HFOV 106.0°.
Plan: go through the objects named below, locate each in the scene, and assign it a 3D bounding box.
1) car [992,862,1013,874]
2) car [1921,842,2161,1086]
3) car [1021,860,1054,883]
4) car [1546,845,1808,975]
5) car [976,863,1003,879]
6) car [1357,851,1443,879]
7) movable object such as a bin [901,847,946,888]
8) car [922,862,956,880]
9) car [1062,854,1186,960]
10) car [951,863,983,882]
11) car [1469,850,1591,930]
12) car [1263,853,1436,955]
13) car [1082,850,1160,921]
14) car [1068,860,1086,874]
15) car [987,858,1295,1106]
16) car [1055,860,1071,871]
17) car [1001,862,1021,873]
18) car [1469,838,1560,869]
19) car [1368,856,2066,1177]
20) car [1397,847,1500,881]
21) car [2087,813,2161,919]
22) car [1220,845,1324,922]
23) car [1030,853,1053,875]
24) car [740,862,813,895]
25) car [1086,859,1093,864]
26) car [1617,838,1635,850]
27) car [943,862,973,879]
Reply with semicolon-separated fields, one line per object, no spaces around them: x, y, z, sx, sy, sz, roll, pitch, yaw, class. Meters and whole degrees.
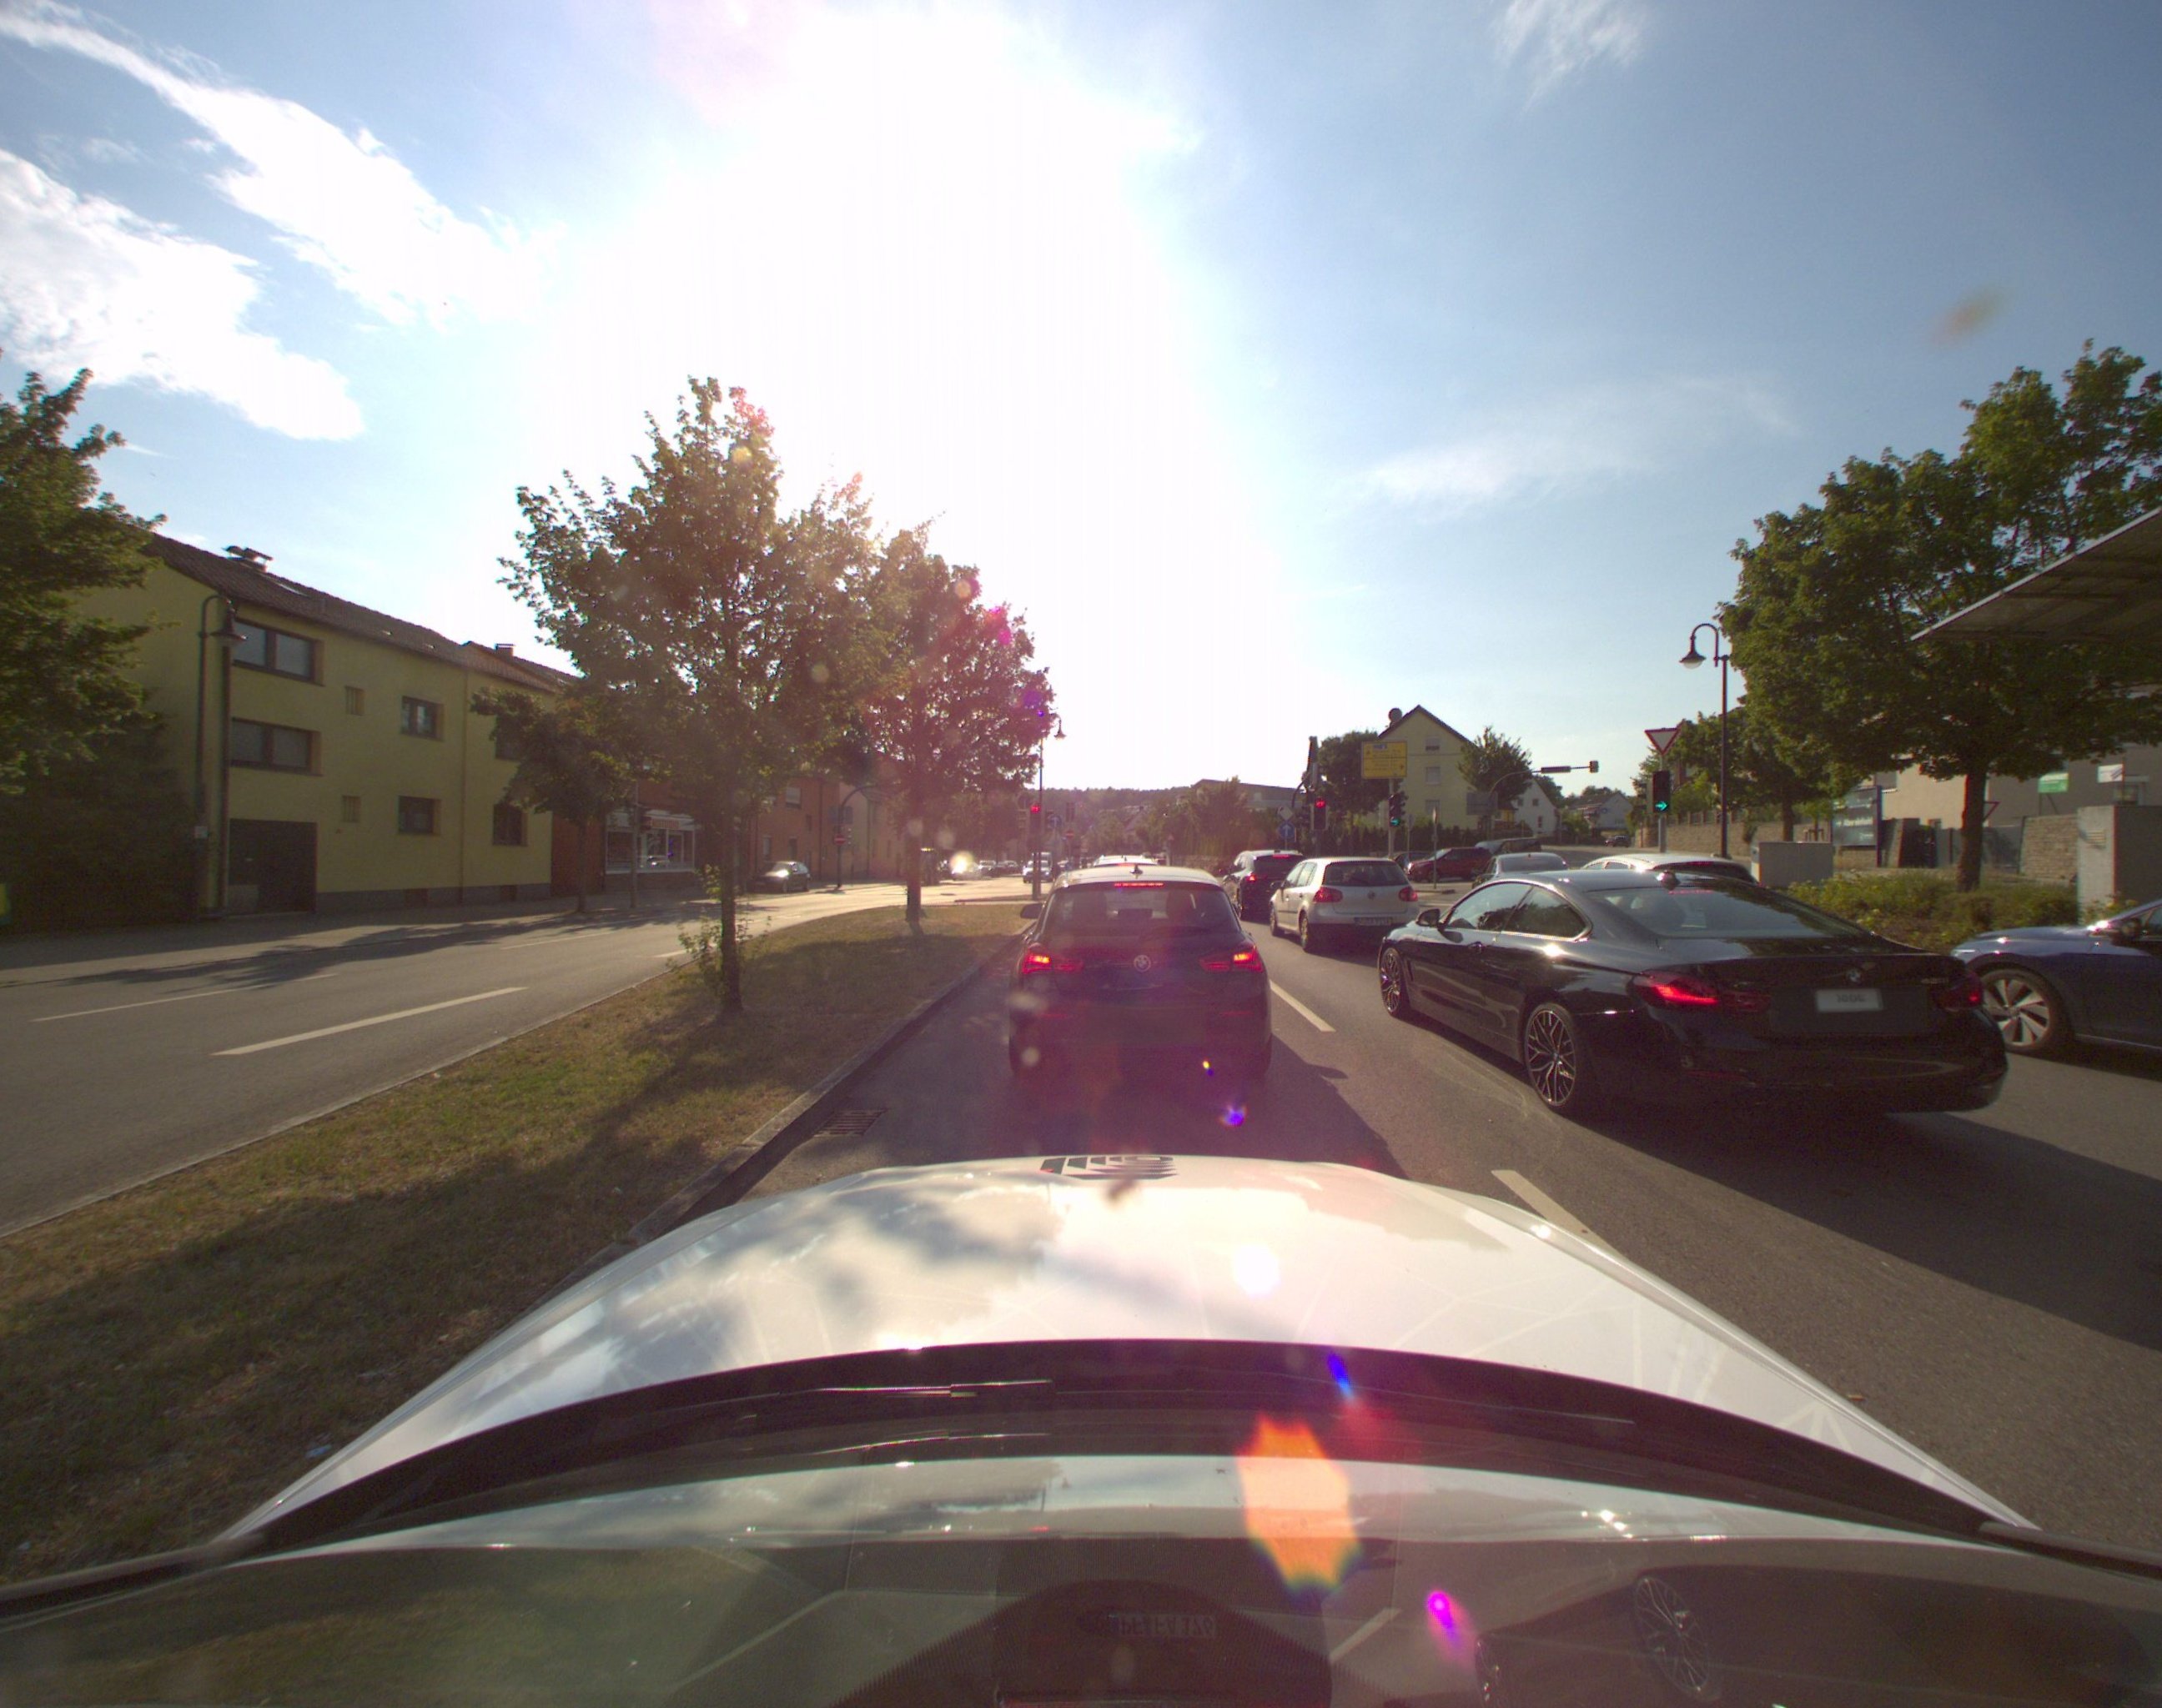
-9.348;1.649;97.575;1.729;1.301;3.804;4;0;5;car
7.402;0.659;4.237;1.754;1.453;4.323;-2;0;4;car
-2.950;1.156;55.744;1.832;1.482;4.002;-1;0;2;car
8.116;0.679;11.472;1.608;1.542;3.326;-2;0;9;car
-8.600;1.558;76.755;1.729;1.301;3.804;4;0;5;car
17.349;0.582;44.368;3.974;1.489;1.848;0;0;-1;car
-9.911;0.805;51.531;1.729;2.442;4.452;-1;0;3;movable object such as a bin
-11.743;1.421;67.601;1.728;1.301;4.006;4;0;6;car
0.724;0.784;14.119;1.781;1.494;4.283;-2;0;2;car
-9.212;1.491;66.128;1.729;1.301;3.804;4;0;5;car
9.886;0.722;18.246;1.642;1.542;4.420;-2;0;19;car
4.326;0.722;13.771;1.755;1.426;3.905;-2;0;2;car
1.025;0.745;21.158;1.781;1.594;4.283;-2;0;2;car
-0.439;1.477;93.454;1.832;1.482;4.002;-1;0;2;car
0.447;0.777;6.975;1.781;1.397;4.283;-2;0;2;car
-2.530;1.601;115.362;1.831;1.482;4.004;-1;0;4;car
-8.841;1.687;103.265;1.729;1.301;3.804;4;0;5;car
24.987;-0.059;46.962;4.780;1.739;1.837;0;0;-17;car
3.625;0.745;5.830;1.755;1.397;4.283;-2;0;2;car
18.353;0.469;40.746;4.410;1.641;1.845;0;0;-6;car
18.499;0.171;12.394;3.793;1.632;1.784;0;0;10;car
4.573;0.656;20.053;1.755;1.656;3.905;-2;0;2;car
-4.326;1.075;90.654;2.076;2.394;5.531;0;0;2;car
-14.135;1.110;38.039;1.730;1.301;4.002;4;0;2;car
2.529;2.211;251.011;1.729;1.301;3.804;4;0;5;car
80.807;-1.540;120.684;1.945;1.680;4.242;-2;0;36;car
-11.065;1.466;73.651;1.729;1.301;4.005;4;0;5;car
